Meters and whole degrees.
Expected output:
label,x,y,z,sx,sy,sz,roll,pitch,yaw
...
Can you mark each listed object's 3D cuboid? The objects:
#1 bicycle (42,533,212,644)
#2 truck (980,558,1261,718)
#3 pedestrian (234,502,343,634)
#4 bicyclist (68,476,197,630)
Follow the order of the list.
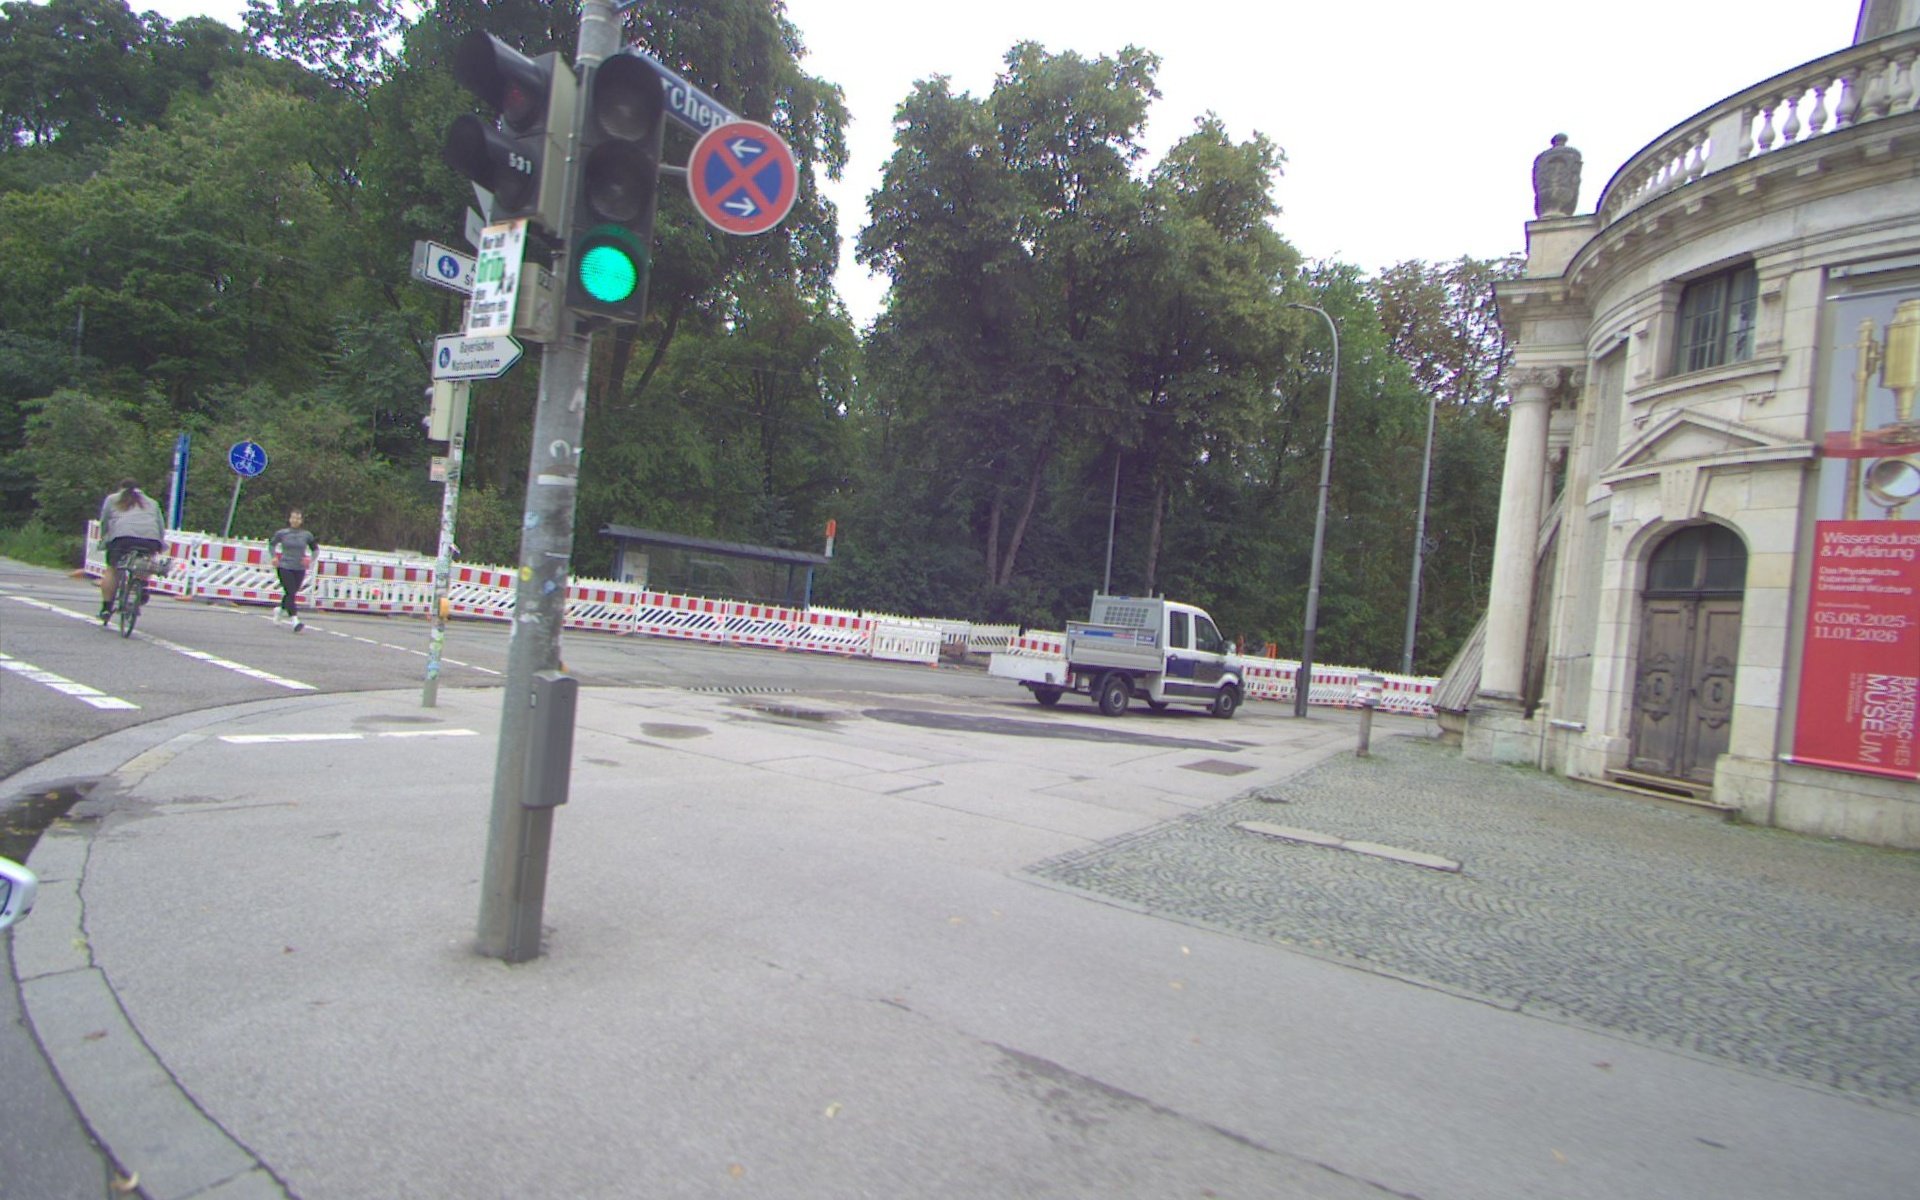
label,x,y,z,sx,sy,sz,roll,pitch,yaw
bicycle,-9.981,-0.147,12.036,2.125,1.070,0.740,6,-1,28
truck,3.445,0.876,20.599,5.899,2.523,2.268,9,-2,-42
pedestrian,-9.928,-0.465,14.888,1.049,1.785,0.773,7,-1,29
bicyclist,-9.867,-0.552,12.005,0.883,1.686,0.758,7,-1,28
